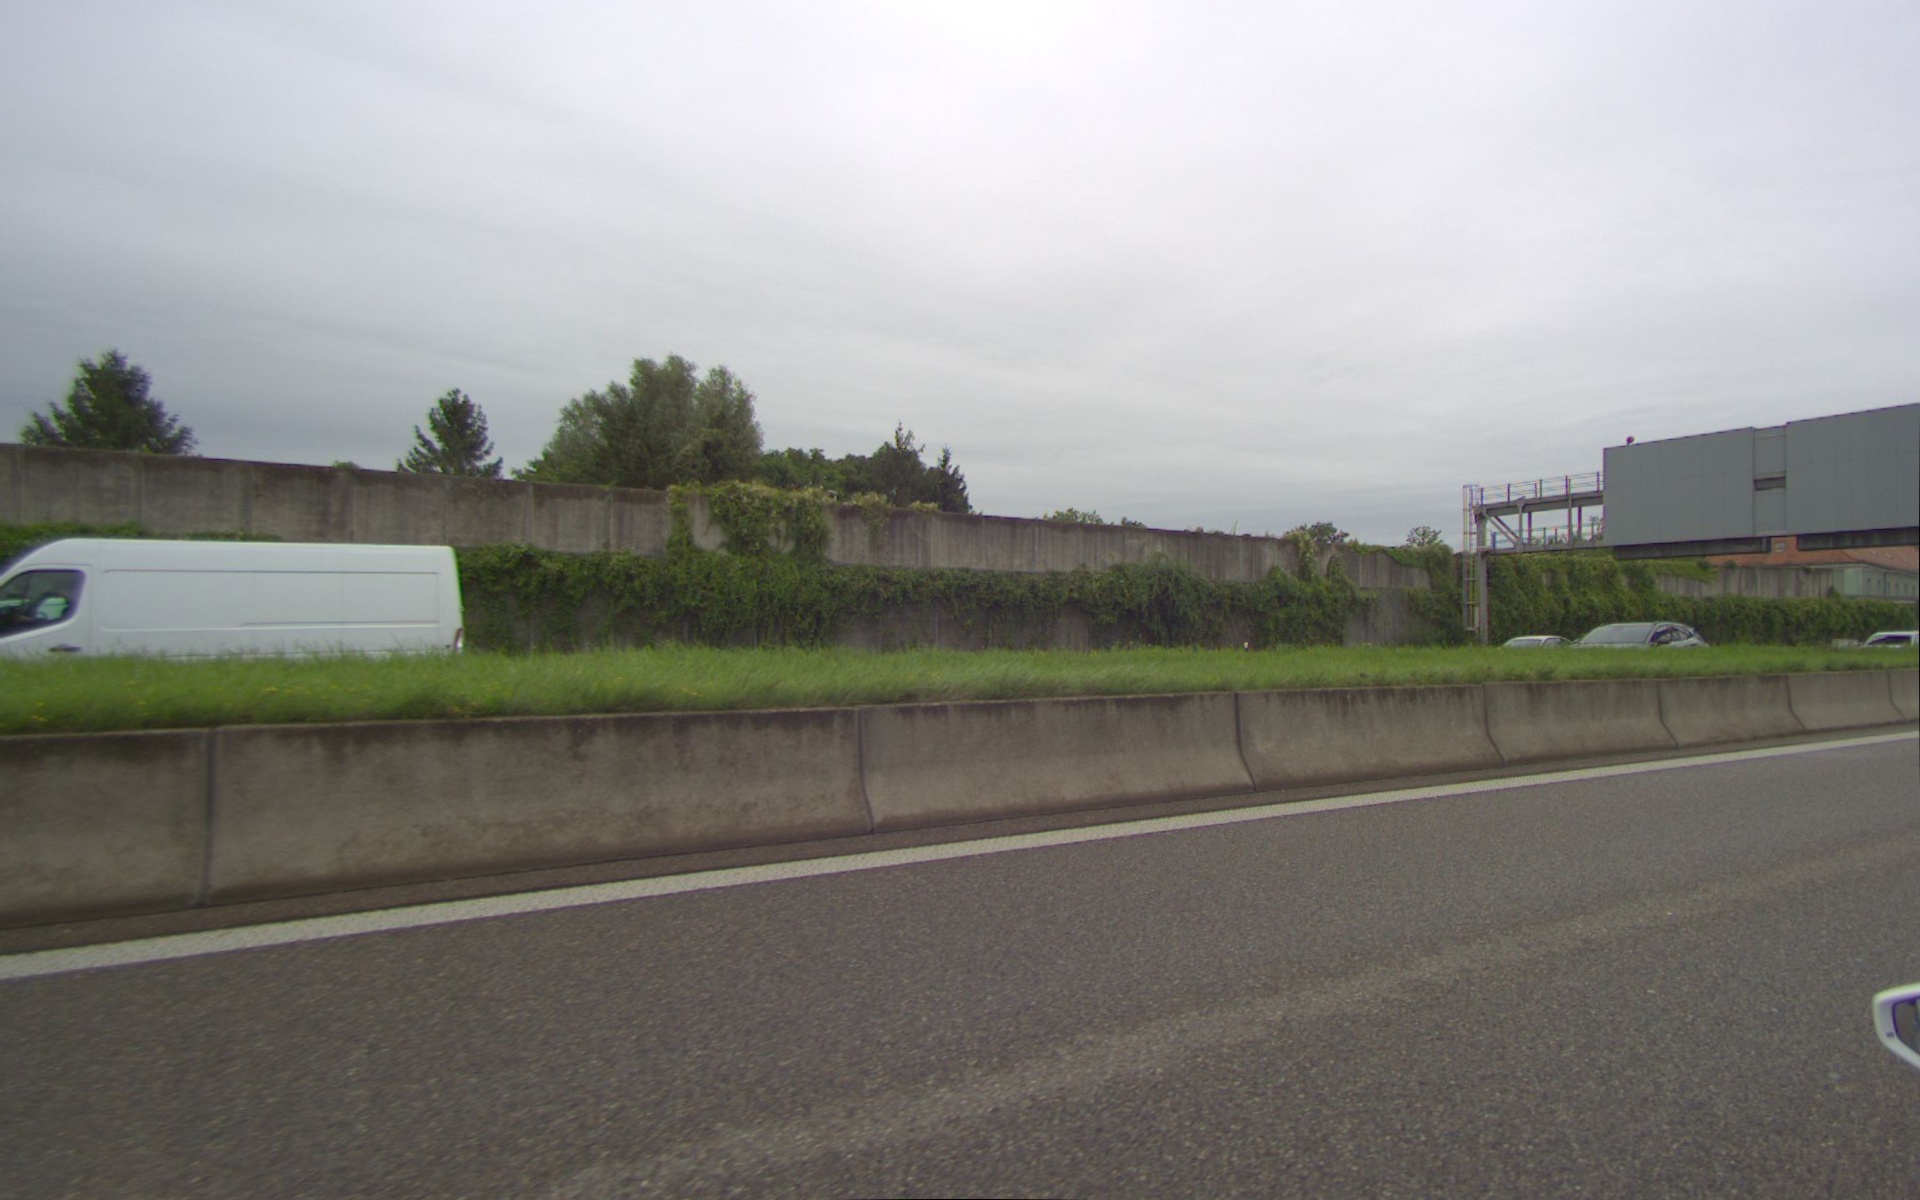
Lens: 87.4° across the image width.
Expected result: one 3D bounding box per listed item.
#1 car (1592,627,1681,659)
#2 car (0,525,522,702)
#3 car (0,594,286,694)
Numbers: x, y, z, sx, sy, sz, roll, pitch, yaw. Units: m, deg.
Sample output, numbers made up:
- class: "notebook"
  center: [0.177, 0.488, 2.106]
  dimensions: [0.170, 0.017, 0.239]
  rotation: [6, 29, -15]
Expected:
- class: "car"
  center: [24.947, 1.579, 37.034]
  dimensions: [3.240, 1.110, 1.595]
  rotation: [1, -1, -33]
- class: "car"
  center: [-9.279, 0.193, 12.950]
  dimensions: [6.457, 1.937, 2.117]
  rotation: [2, 0, -30]
- class: "car"
  center: [-12.827, 0.613, 14.978]
  dimensions: [4.475, 1.362, 1.869]
  rotation: [1, 0, -31]
